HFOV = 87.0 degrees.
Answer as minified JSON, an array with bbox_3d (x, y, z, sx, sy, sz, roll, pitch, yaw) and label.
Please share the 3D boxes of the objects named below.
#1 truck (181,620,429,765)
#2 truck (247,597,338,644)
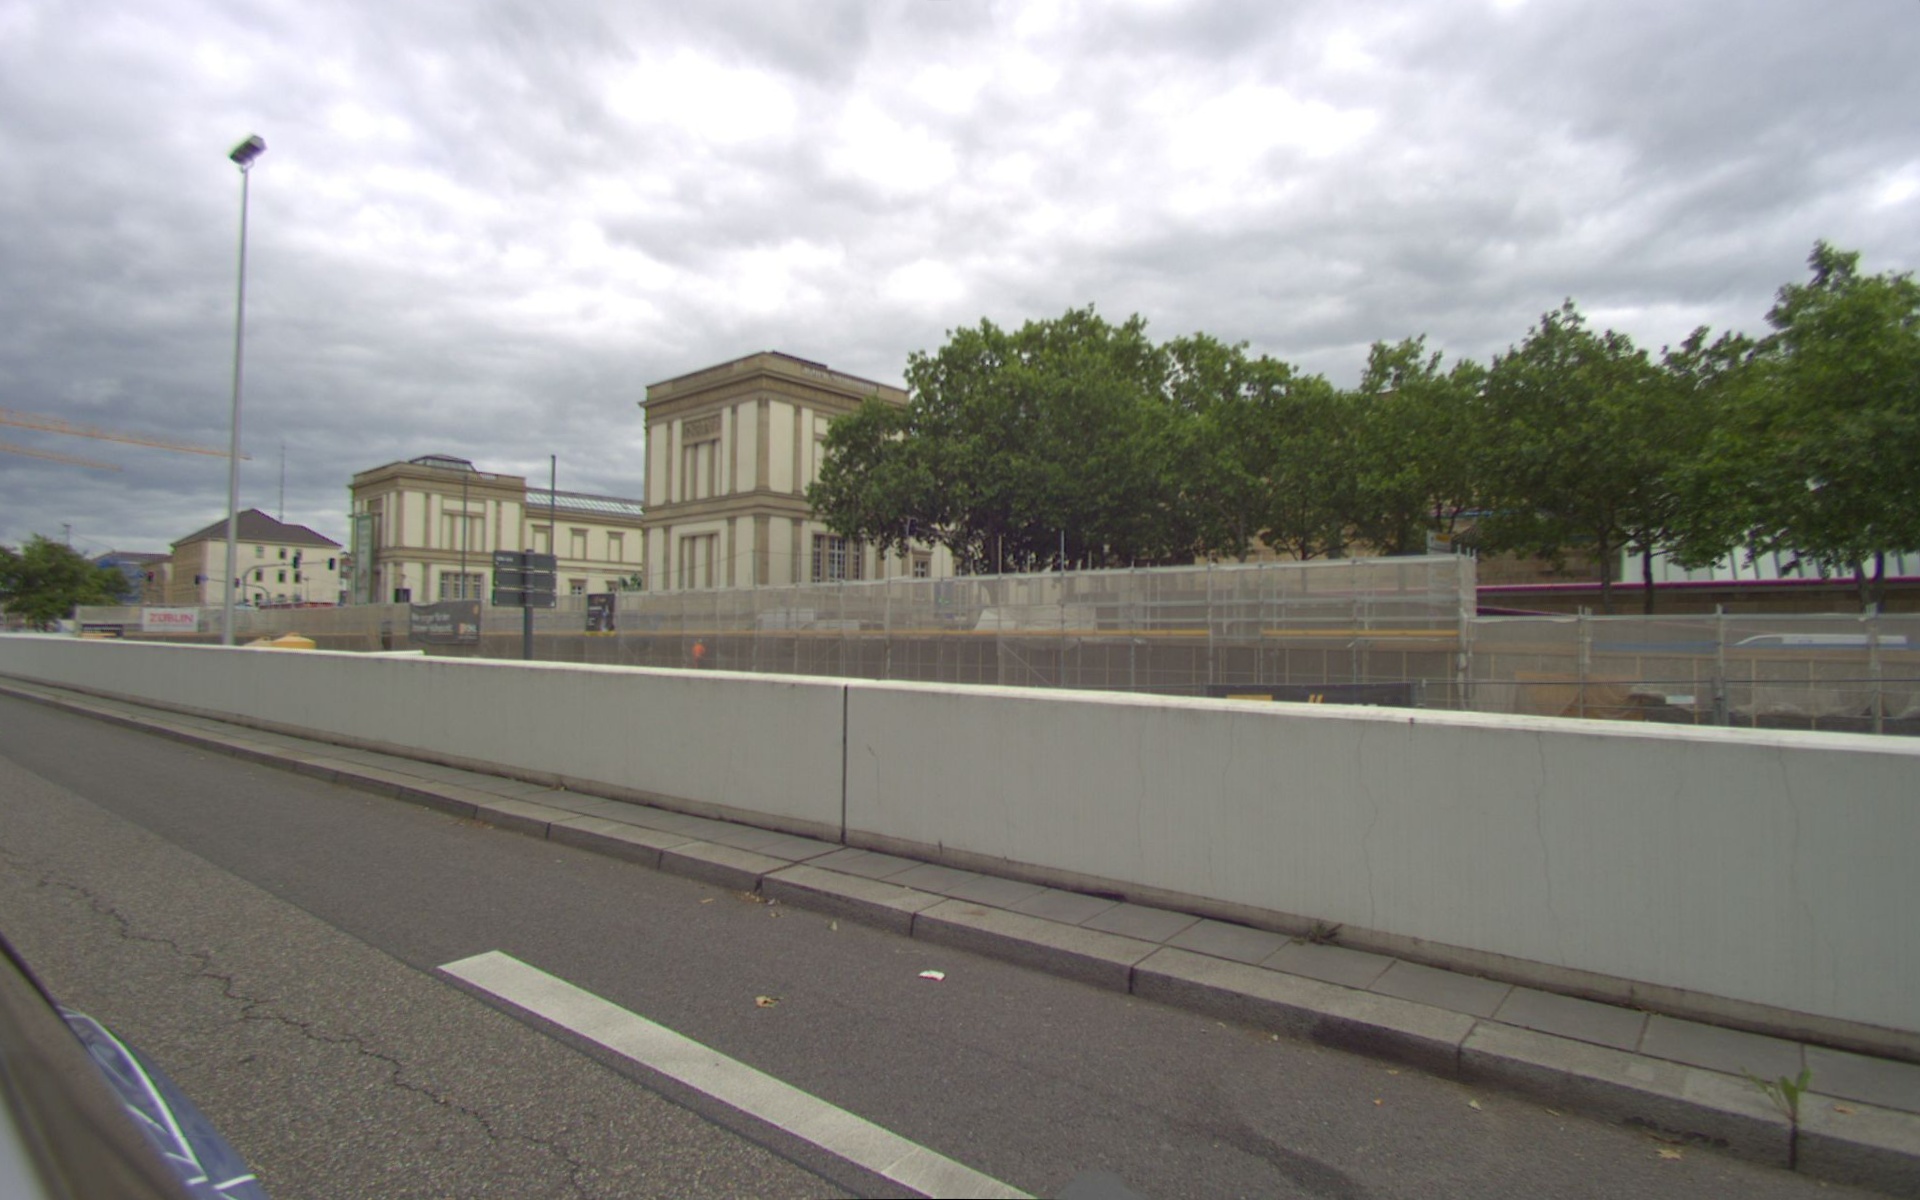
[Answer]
[{"bbox_3d":[-14.500,1.932,22.213,6.666,2.733,2.577,-3,-4,39],"label":"truck"},{"bbox_3d":[-64.254,2.128,97.110,16.606,4.114,2.886,-2,-5,42],"label":"truck"}]
